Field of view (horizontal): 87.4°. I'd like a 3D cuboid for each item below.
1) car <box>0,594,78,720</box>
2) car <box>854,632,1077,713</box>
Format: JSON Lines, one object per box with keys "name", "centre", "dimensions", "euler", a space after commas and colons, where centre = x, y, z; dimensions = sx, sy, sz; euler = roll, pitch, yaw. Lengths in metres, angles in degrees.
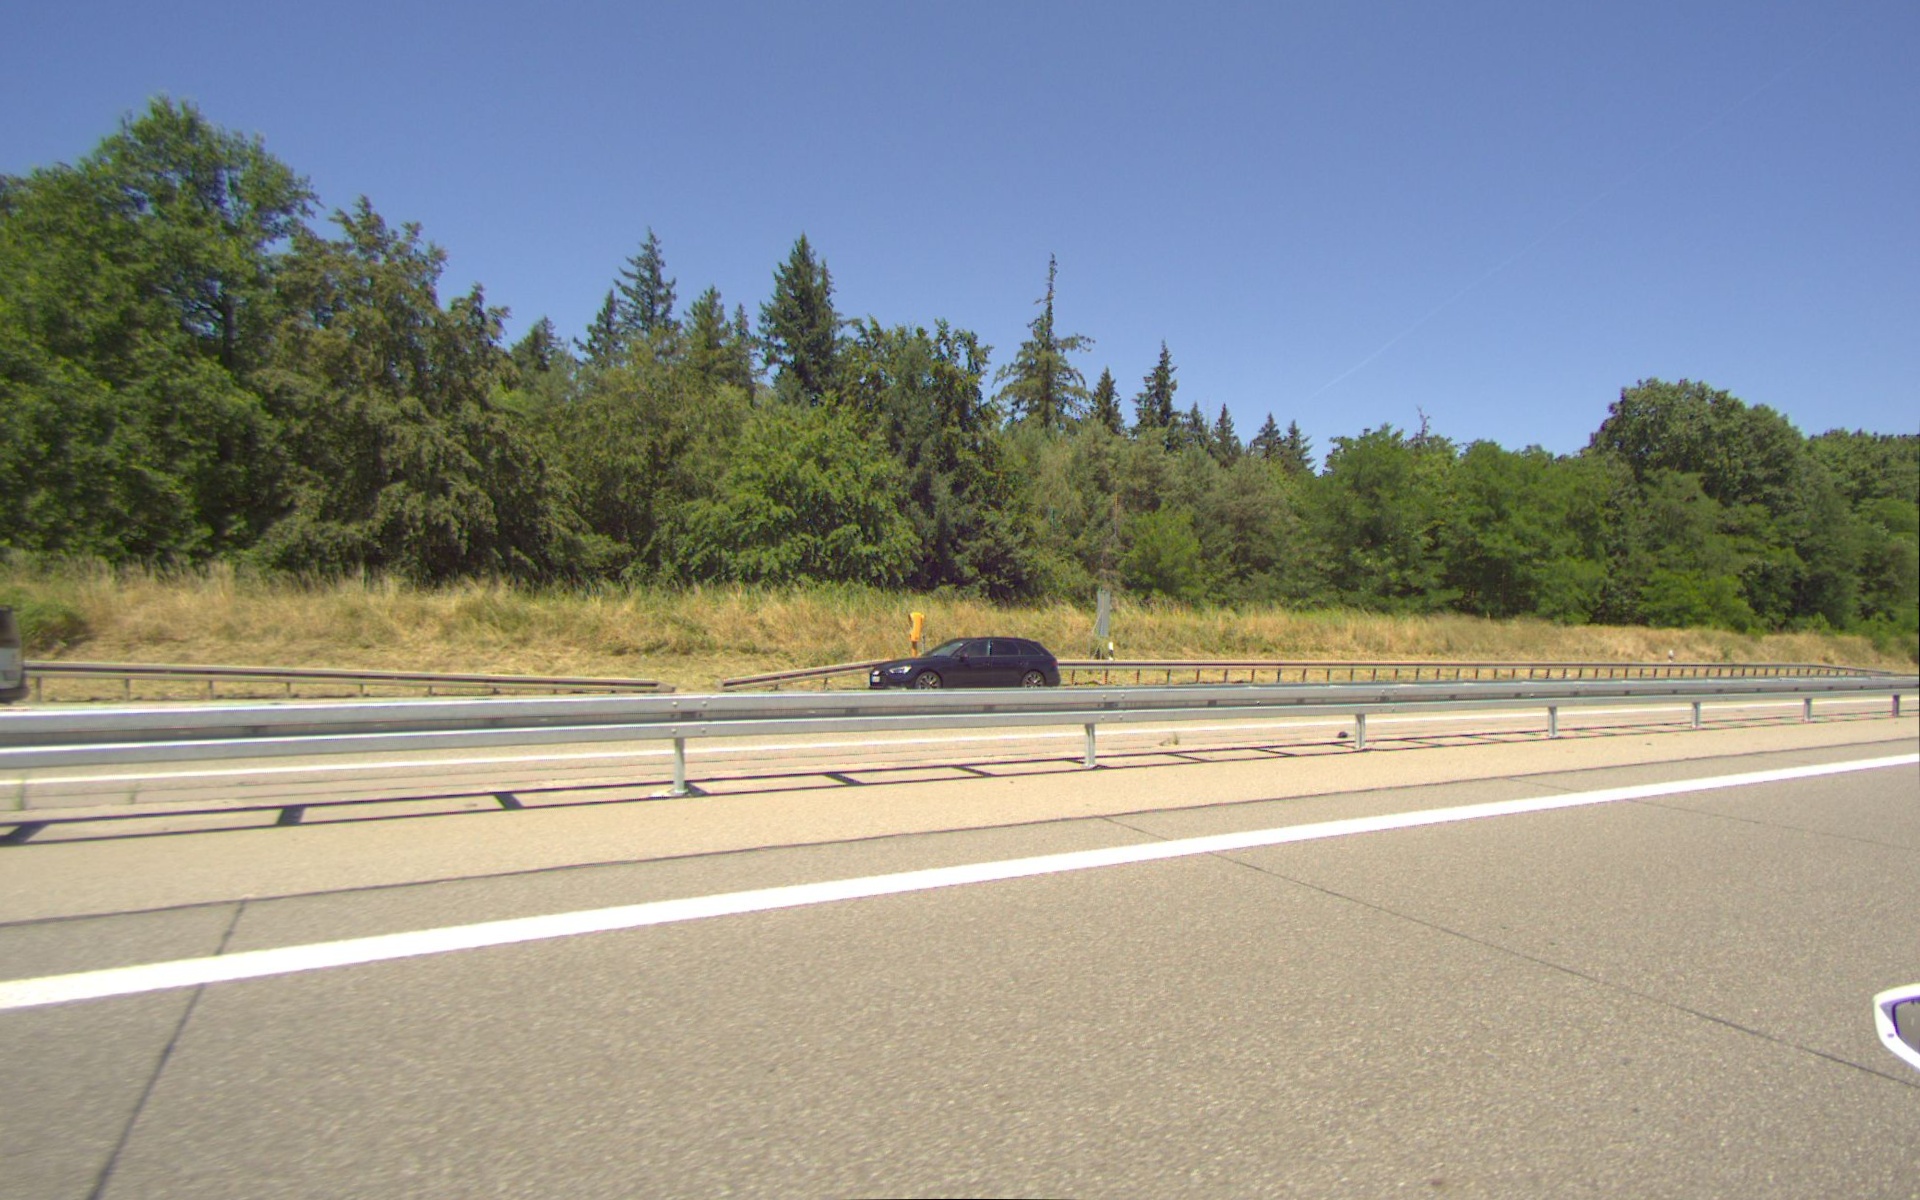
{"name": "car", "centre": [-16.213, 0.820, 14.695], "dimensions": [4.588, 1.851, 1.984], "euler": [2, -3, -30]}
{"name": "car", "centre": [0.175, 1.668, 23.499], "dimensions": [4.921, 1.726, 1.984], "euler": [2, -3, -30]}
